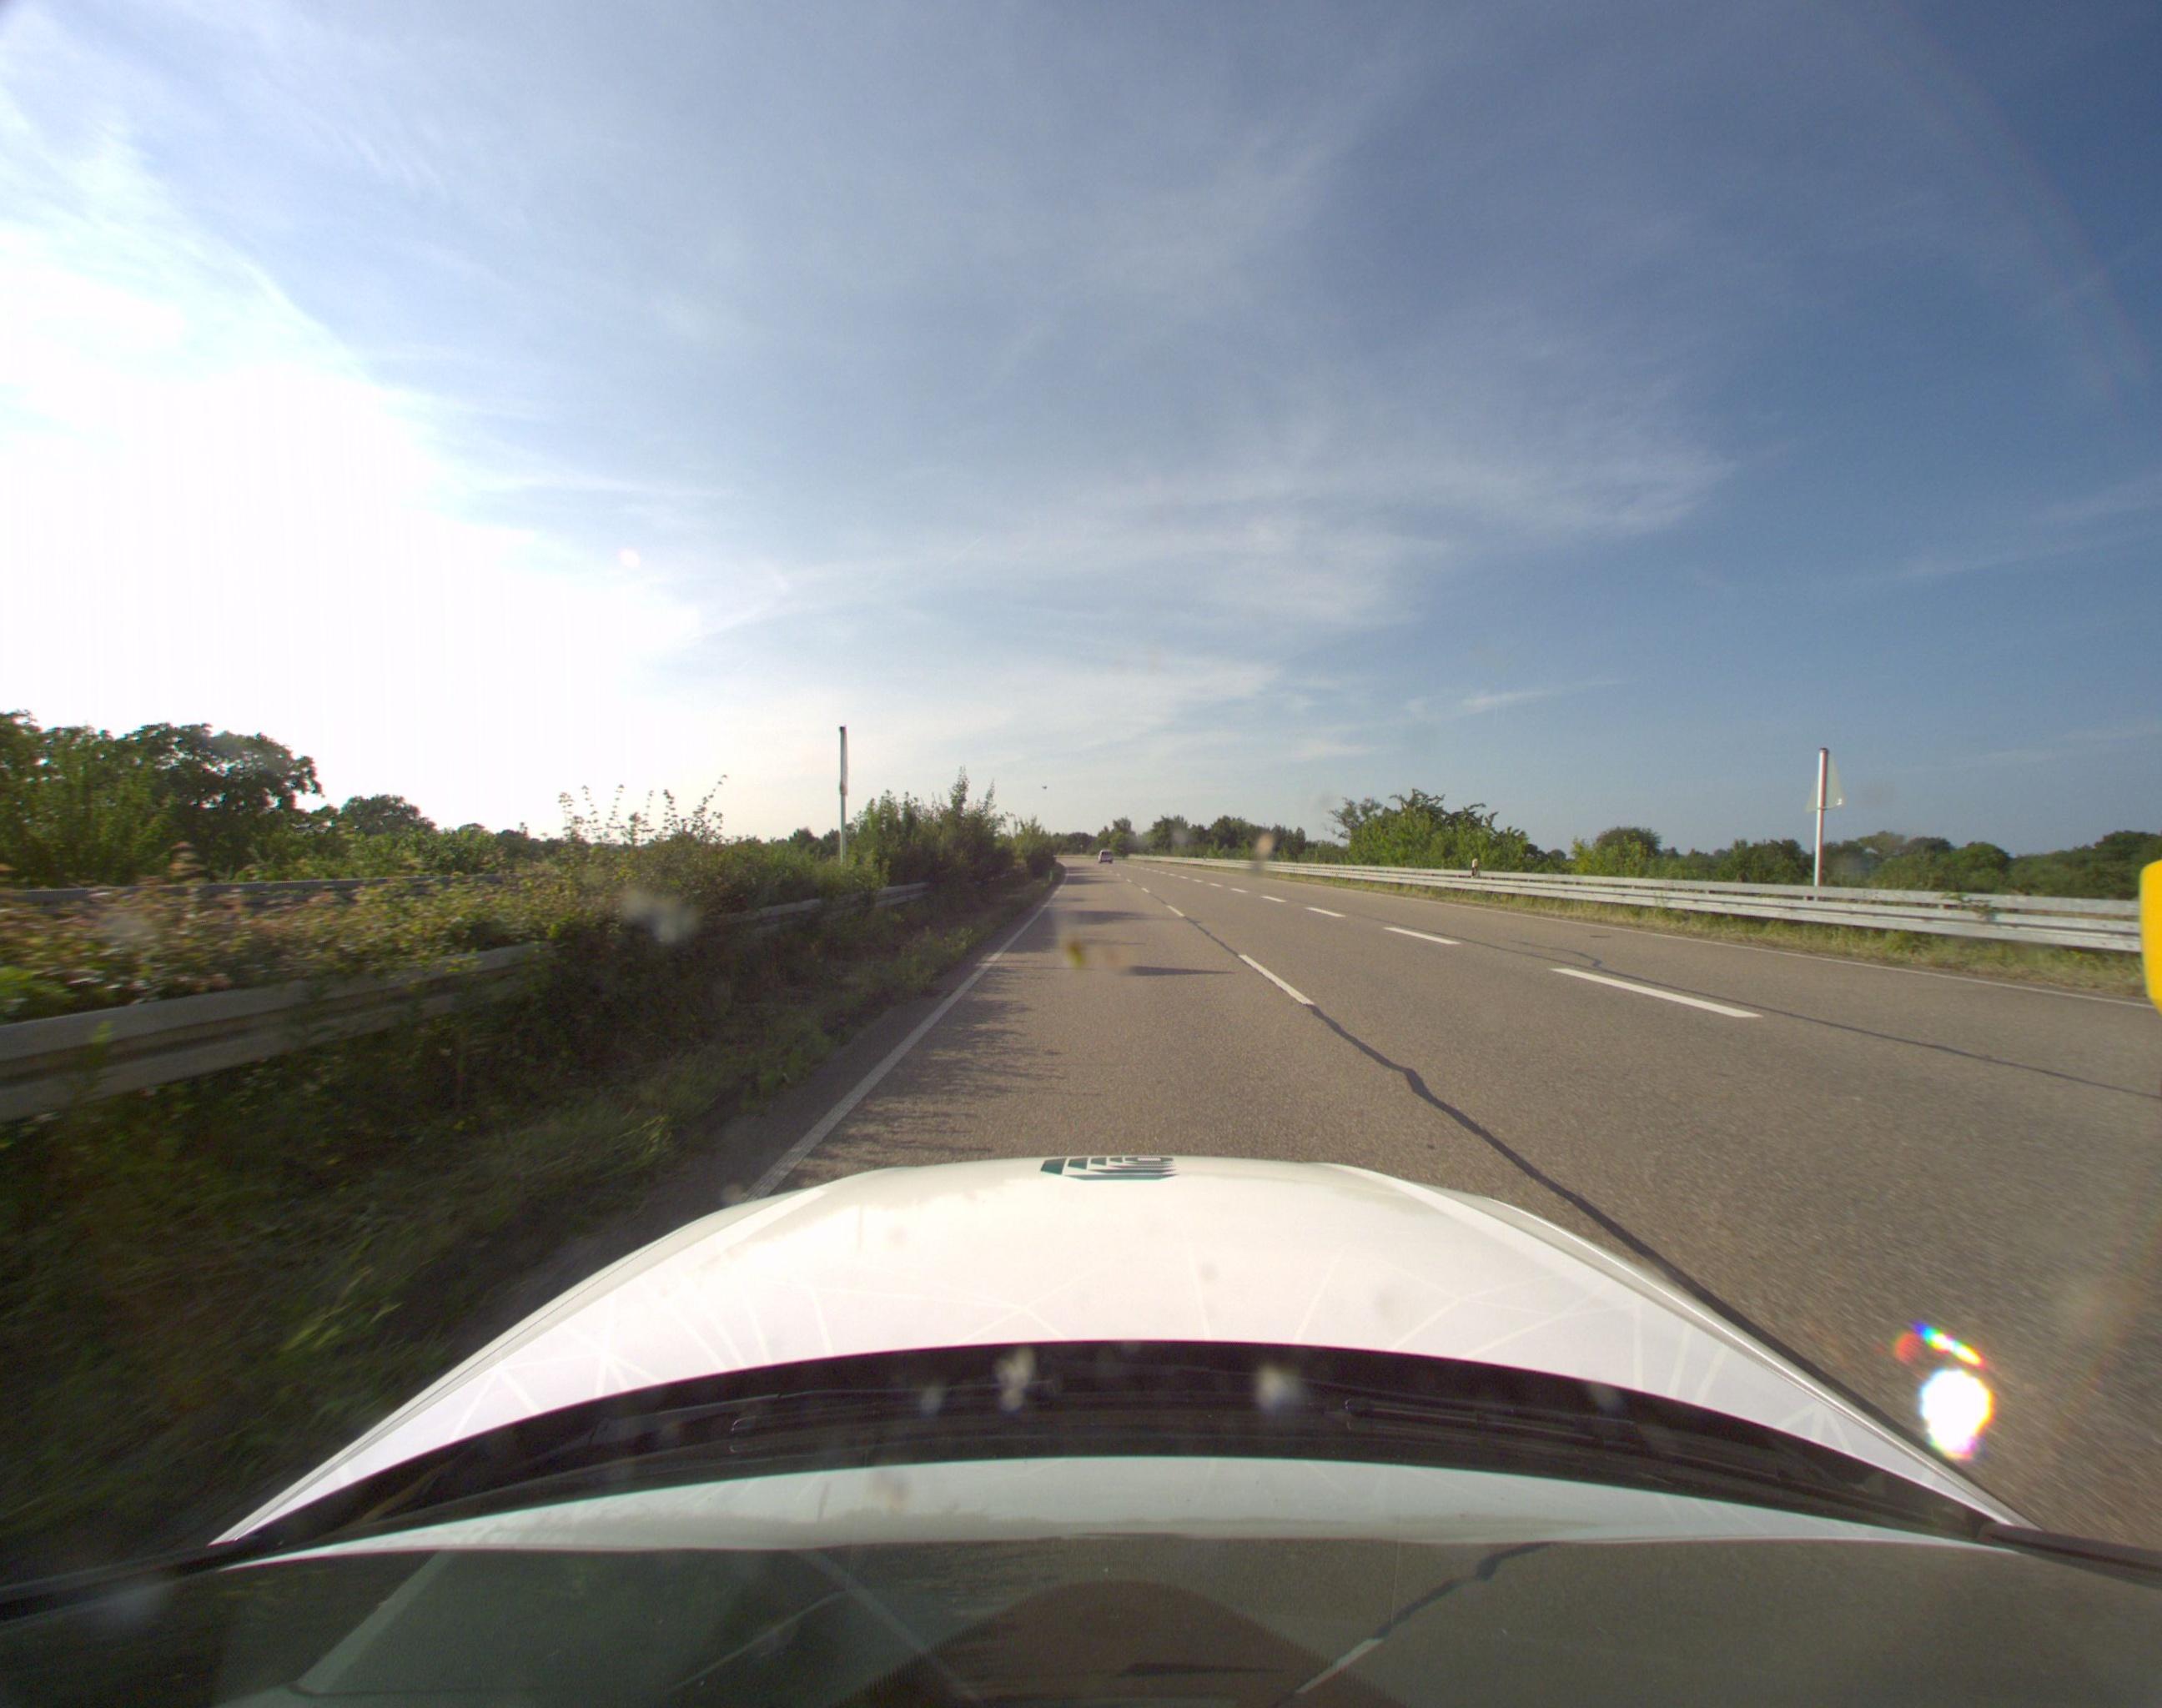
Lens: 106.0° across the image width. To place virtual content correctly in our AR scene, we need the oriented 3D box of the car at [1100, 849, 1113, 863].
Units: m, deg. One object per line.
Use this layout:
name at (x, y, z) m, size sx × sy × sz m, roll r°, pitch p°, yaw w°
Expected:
car at (3.505, 0.275, 112.274) m, size 1.759 × 1.882 × 4.001 m, roll -1°, pitch -1°, yaw 2°
